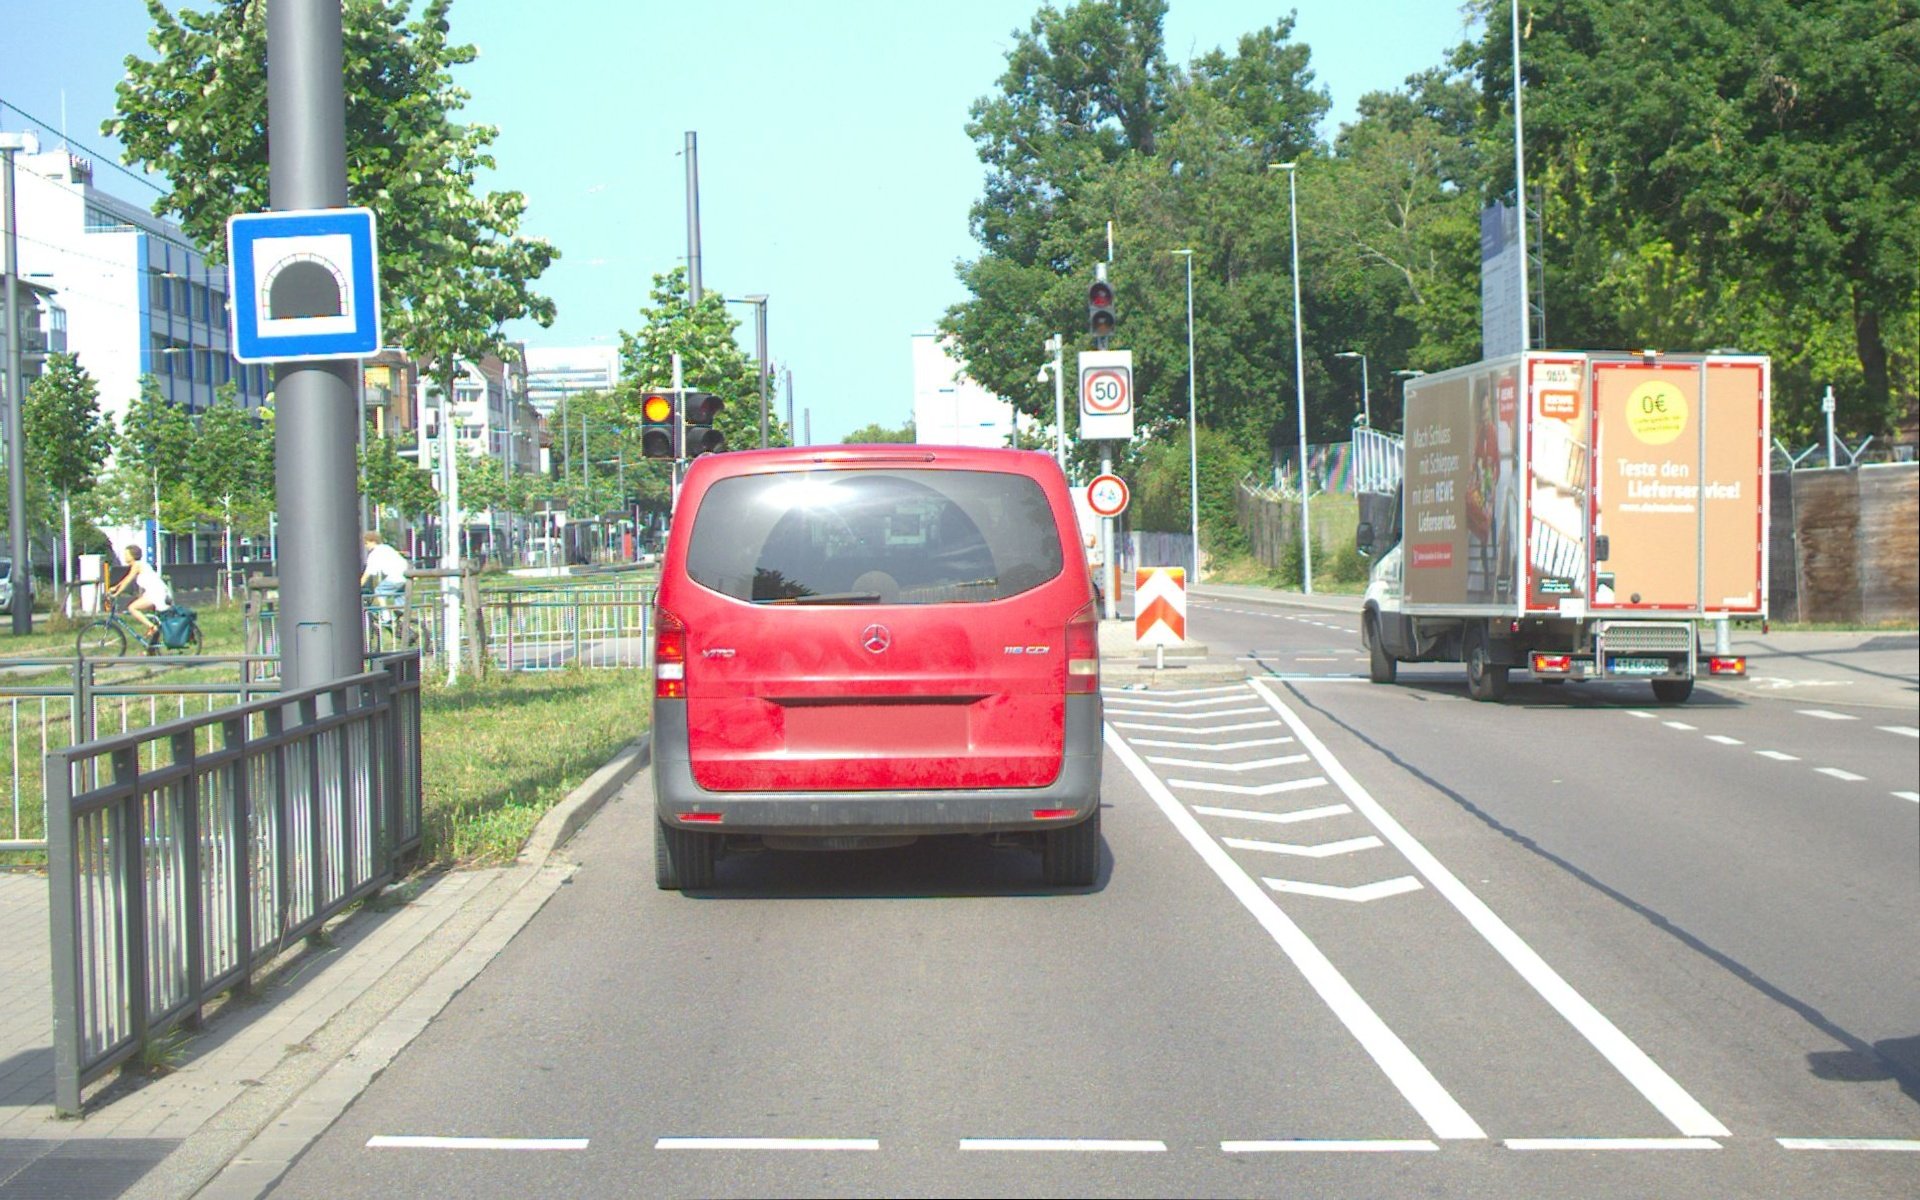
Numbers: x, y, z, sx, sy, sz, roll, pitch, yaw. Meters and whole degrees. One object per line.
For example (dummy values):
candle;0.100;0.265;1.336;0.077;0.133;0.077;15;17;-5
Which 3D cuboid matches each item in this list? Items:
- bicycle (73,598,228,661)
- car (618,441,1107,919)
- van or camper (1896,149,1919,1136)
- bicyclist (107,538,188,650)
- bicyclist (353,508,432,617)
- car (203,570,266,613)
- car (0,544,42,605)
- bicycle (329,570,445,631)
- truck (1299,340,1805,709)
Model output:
bicycle;-11.087;0.395;47.123;1.996;0.791;0.629;-2;1;-7
car;-0.327;0.279;15.459;1.901;1.853;4.000;1;1;2
van or camper;3.318;0.176;5.715;1.986;2.463;6.061;1;1;2
bicyclist;-11.128;-0.089;47.112;0.983;1.495;0.621;-2;1;-8
bicyclist;-7.581;-0.500;45.930;0.686;1.435;0.805;1;0;28
car;-31.332;-0.365;148.599;1.917;1.806;4.000;1;0;-1
car;-33.761;-0.876;120.049;2.249;2.007;5.263;1;-1;-3
bicycle;-7.630;0.001;45.834;0.719;0.795;1.601;1;0;27
truck;5.348;-0.664;32.636;2.501;3.050;7.822;1;0;-7
